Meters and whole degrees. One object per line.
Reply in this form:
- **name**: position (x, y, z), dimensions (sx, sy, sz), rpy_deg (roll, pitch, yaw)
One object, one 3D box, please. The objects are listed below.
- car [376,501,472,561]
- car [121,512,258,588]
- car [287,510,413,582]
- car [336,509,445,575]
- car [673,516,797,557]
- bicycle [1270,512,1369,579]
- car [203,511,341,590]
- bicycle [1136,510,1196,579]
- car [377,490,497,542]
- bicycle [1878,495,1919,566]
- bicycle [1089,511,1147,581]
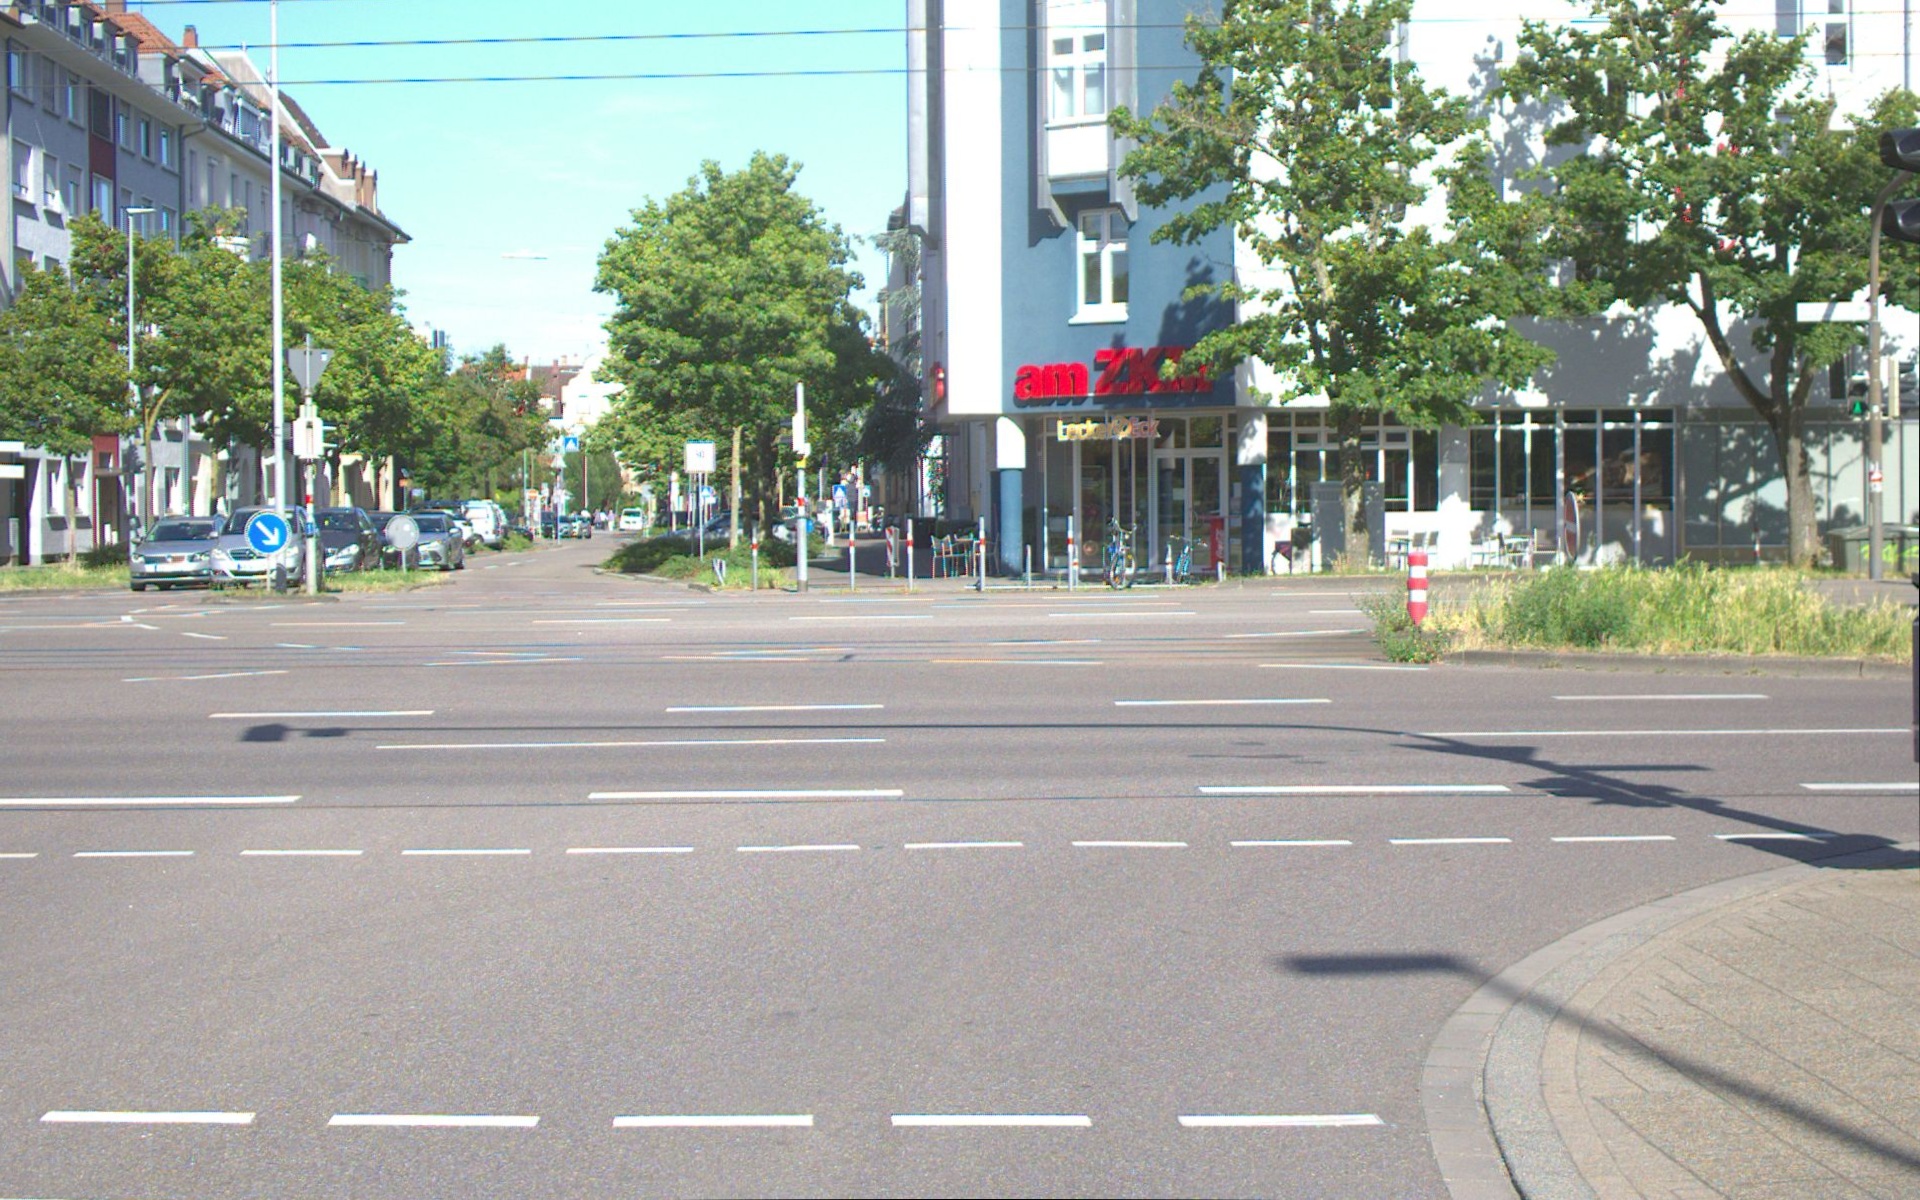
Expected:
- **car**: position (-13.666, -1.767, 87.888), dimensions (1.688, 1.427, 4.400), rpy_deg (2, 1, 1)
- **car**: position (-15.460, -1.016, 69.154), dimensions (1.688, 1.427, 4.400), rpy_deg (2, 1, 1)
- **car**: position (-12.834, -1.150, 72.538), dimensions (1.688, 1.427, 4.400), rpy_deg (2, 1, 2)
- **car**: position (-13.025, -1.343, 78.871), dimensions (1.688, 1.427, 4.400), rpy_deg (2, 1, 1)
- **car**: position (-6.856, -1.914, 104.604), dimensions (3.566, 1.219, 1.731), rpy_deg (0, 1, -10)
- **bicycle**: position (5.644, -0.860, 53.961), dimensions (1.512, 1.023, 0.473), rpy_deg (-1, 1, 9)
- **car**: position (-13.170, -0.965, 66.056), dimensions (1.688, 1.427, 4.400), rpy_deg (2, 1, 1)
- **bicycle**: position (3.126, -0.845, 52.163), dimensions (0.471, 1.023, 1.517), rpy_deg (-1, 2, -14)
- **car**: position (-20.566, -3.286, 135.274), dimensions (4.504, 2.007, 2.000), rpy_deg (0, 0, -4)
- **bicycle**: position (16.602, -1.193, 58.390), dimensions (1.863, 1.178, 0.562), rpy_deg (-1, 1, -6)
- **bicycle**: position (2.369, -0.814, 51.627), dimensions (0.471, 1.023, 1.517), rpy_deg (-1, 2, -13)
